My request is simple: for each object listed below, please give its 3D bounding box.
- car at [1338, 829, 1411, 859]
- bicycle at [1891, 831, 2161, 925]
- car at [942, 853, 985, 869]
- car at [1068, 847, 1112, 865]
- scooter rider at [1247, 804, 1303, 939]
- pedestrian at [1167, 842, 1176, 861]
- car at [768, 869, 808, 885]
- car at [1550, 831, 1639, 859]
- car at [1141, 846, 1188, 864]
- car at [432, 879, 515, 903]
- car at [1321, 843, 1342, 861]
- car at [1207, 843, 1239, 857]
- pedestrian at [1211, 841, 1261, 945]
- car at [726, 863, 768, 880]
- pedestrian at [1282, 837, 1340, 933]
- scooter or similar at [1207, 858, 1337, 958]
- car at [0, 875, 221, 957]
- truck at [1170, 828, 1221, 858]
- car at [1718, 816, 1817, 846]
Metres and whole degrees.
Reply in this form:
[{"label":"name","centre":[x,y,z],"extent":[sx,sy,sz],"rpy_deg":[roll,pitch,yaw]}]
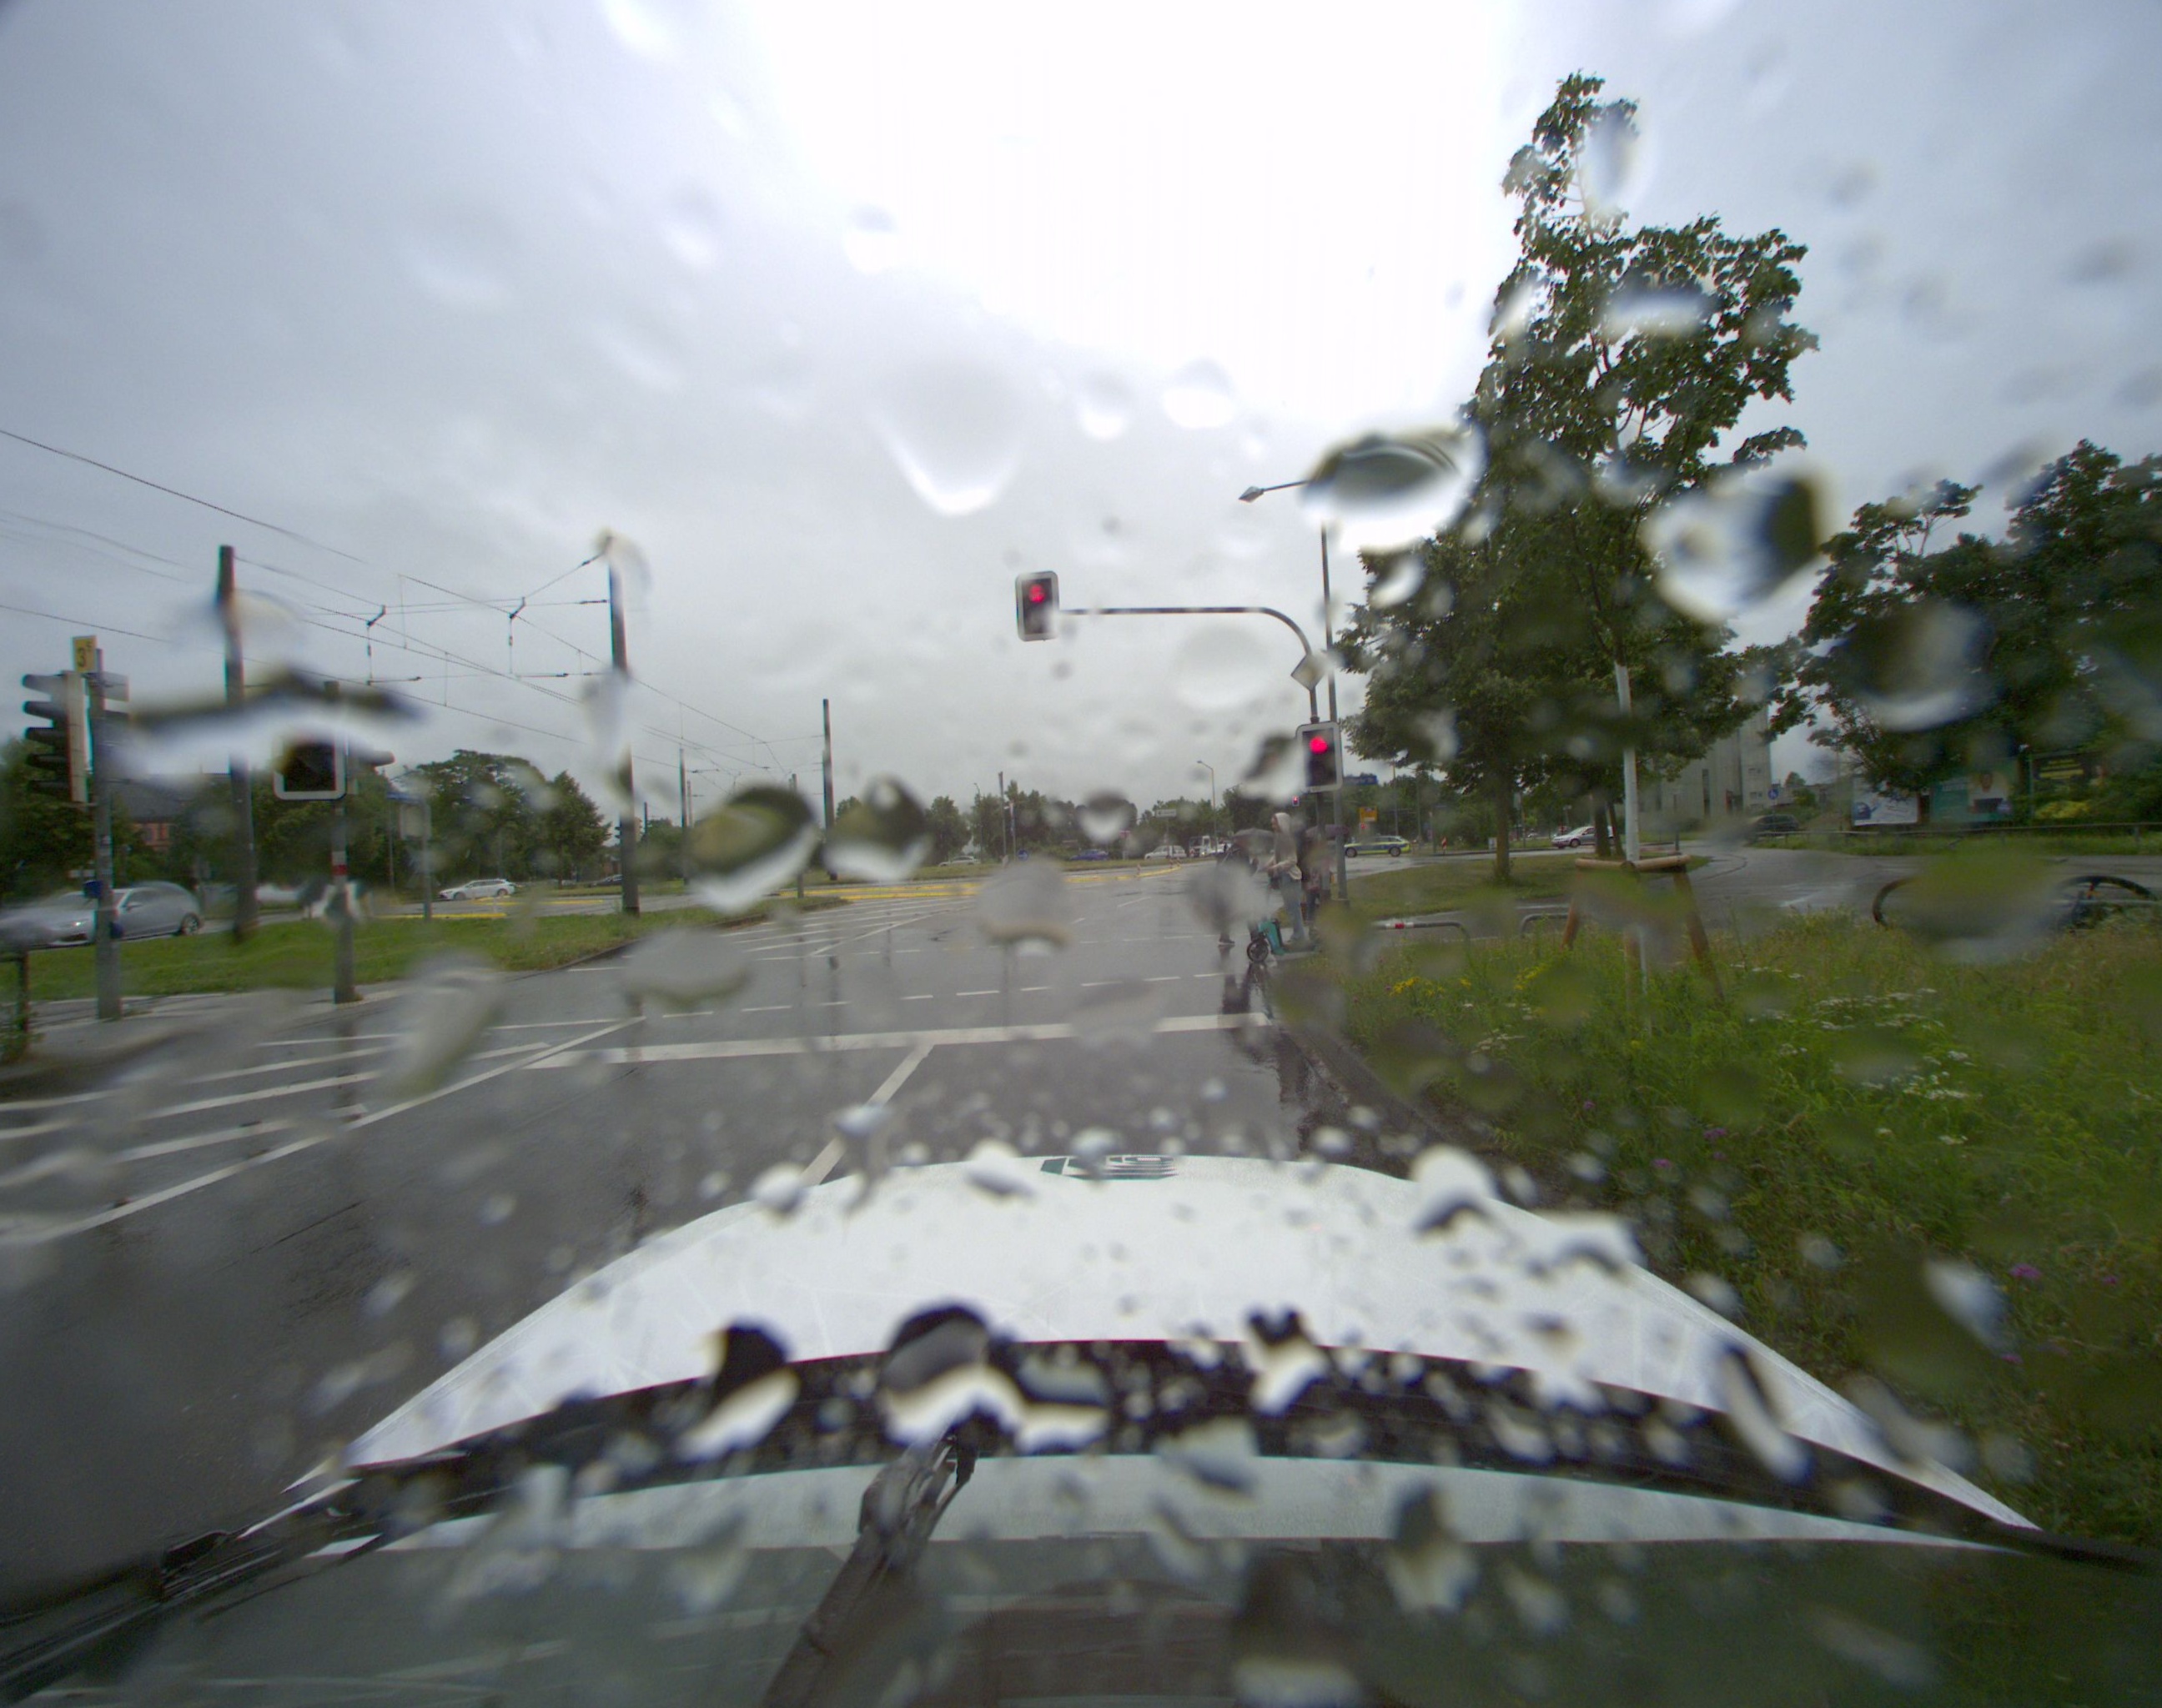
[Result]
[{"label":"car","centre":[20.670,-0.687,57.334],"extent":[4.719,1.851,2.011],"rpy_deg":[-2,0,21]},{"label":"bicycle","centre":[8.829,0.211,7.539],"extent":[0.382,0.787,1.841],"rpy_deg":[0,-1,-32]},{"label":"car","centre":[-12.084,0.699,83.665],"extent":[4.083,1.454,1.624],"rpy_deg":[-2,0,2]},{"label":"car","centre":[0.844,0.182,76.036],"extent":[3.936,1.454,1.634],"rpy_deg":[-2,0,39]},{"label":"scooter rider","centre":[2.528,0.221,10.636],"extent":[0.530,1.709,0.433],"rpy_deg":[-3,0,-4]},{"label":"pedestrian","centre":[6.431,-0.174,57.882],"extent":[0.448,1.304,0.489],"rpy_deg":[-2,0,41]},{"label":"car","centre":[-31.068,2.433,86.349],"extent":[3.990,1.454,1.612],"rpy_deg":[-2,0,-22]},{"label":"car","centre":[34.397,-0.584,54.653],"extent":[4.745,1.851,1.999],"rpy_deg":[0,-1,-1]},{"label":"car","centre":[7.243,0.119,70.870],"extent":[1.632,1.454,3.940],"rpy_deg":[-2,0,-40]},{"label":"car","centre":[-45.239,2.758,60.783],"extent":[1.602,1.454,4.653],"rpy_deg":[-2,0,35]},{"label":"car","centre":[22.779,-0.190,74.049],"extent":[1.606,1.454,4.003],"rpy_deg":[-2,0,14]},{"label":"car","centre":[17.367,-0.522,99.561],"extent":[1.779,1.662,4.159],"rpy_deg":[-1,-1,43]},{"label":"pedestrian","centre":[2.347,0.576,12.385],"extent":[0.619,1.522,0.741],"rpy_deg":[-1,0,1]},{"label":"car","centre":[-36.705,1.870,89.620],"extent":[1.660,1.816,4.025],"rpy_deg":[-1,-1,31]},{"label":"pedestrian","centre":[3.670,0.491,13.036],"extent":[0.678,1.461,0.573],"rpy_deg":[-3,-1,-2]},{"label":"scooter or similar","centre":[2.476,0.683,10.622],"extent":[1.582,1.259,0.447],"rpy_deg":[0,-1,-4]},{"label":"car","centre":[-23.794,1.422,19.861],"extent":[2.000,1.627,4.375],"rpy_deg":[-2,0,-19]},{"label":"truck","centre":[10.959,-0.947,77.369],"extent":[2.438,2.686,8.105],"rpy_deg":[-1,-1,25]},{"label":"car","centre":[45.987,-1.513,54.633],"extent":[4.731,1.851,2.005],"rpy_deg":[0,-1,9]}]
